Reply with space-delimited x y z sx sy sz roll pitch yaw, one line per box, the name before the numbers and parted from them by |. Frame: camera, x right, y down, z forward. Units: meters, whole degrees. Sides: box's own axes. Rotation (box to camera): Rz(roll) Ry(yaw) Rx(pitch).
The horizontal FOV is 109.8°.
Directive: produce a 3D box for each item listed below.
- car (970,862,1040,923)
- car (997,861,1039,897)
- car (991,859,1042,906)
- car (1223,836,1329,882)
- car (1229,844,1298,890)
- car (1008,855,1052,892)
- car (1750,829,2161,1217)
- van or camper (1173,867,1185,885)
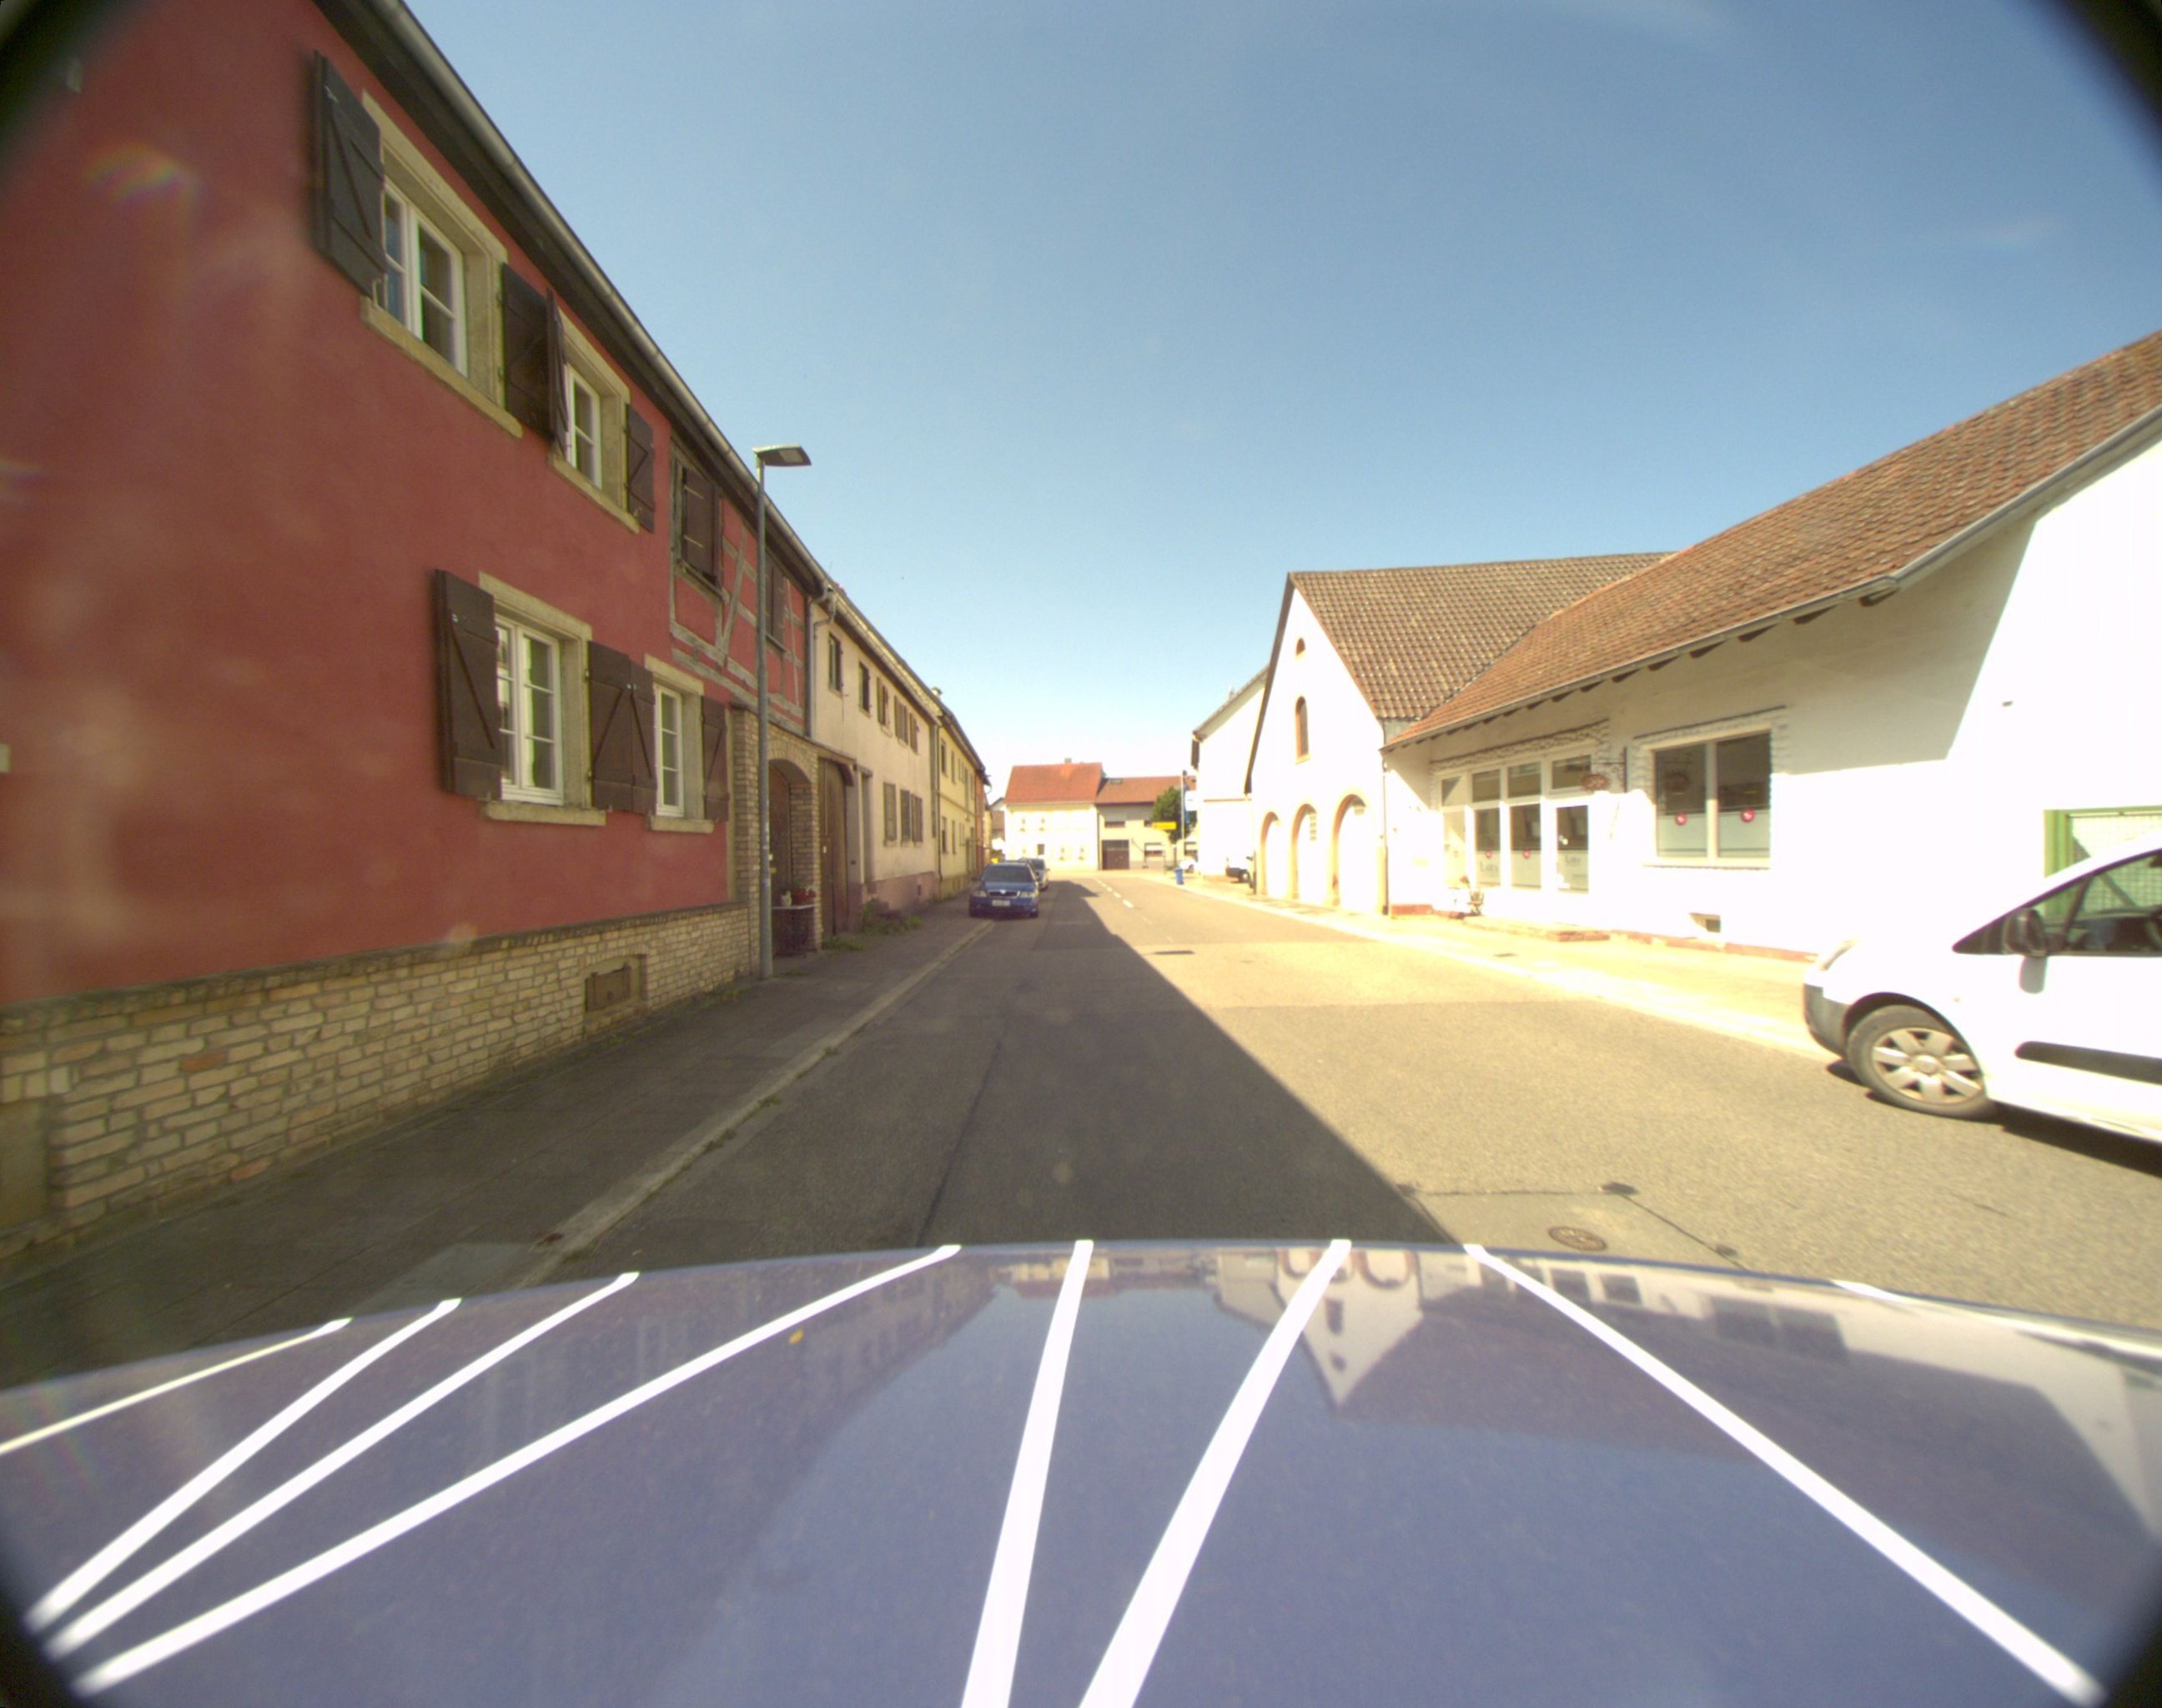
car | -1.997 0.973 20.925 1.703 1.461 4.408 0 0 -3
car | -2.713 1.060 33.197 1.555 1.429 3.720 0 0 -1
car | -2.297 0.985 27.835 1.703 1.574 4.026 0 0 -2
car | 10.160 0.271 40.039 5.185 2.184 2.124 -2 0 9
car | 8.325 0.540 35.094 1.998 1.953 4.669 -1 0 0
car | -2.514 0.939 38.326 1.903 1.718 4.248 -2 0 -1
car | 5.474 0.698 2.959 1.860 1.637 4.429 -1 0 0
van or camper | 5.273 1.167 40.999 0.590 0.946 0.600 -1 0 4
